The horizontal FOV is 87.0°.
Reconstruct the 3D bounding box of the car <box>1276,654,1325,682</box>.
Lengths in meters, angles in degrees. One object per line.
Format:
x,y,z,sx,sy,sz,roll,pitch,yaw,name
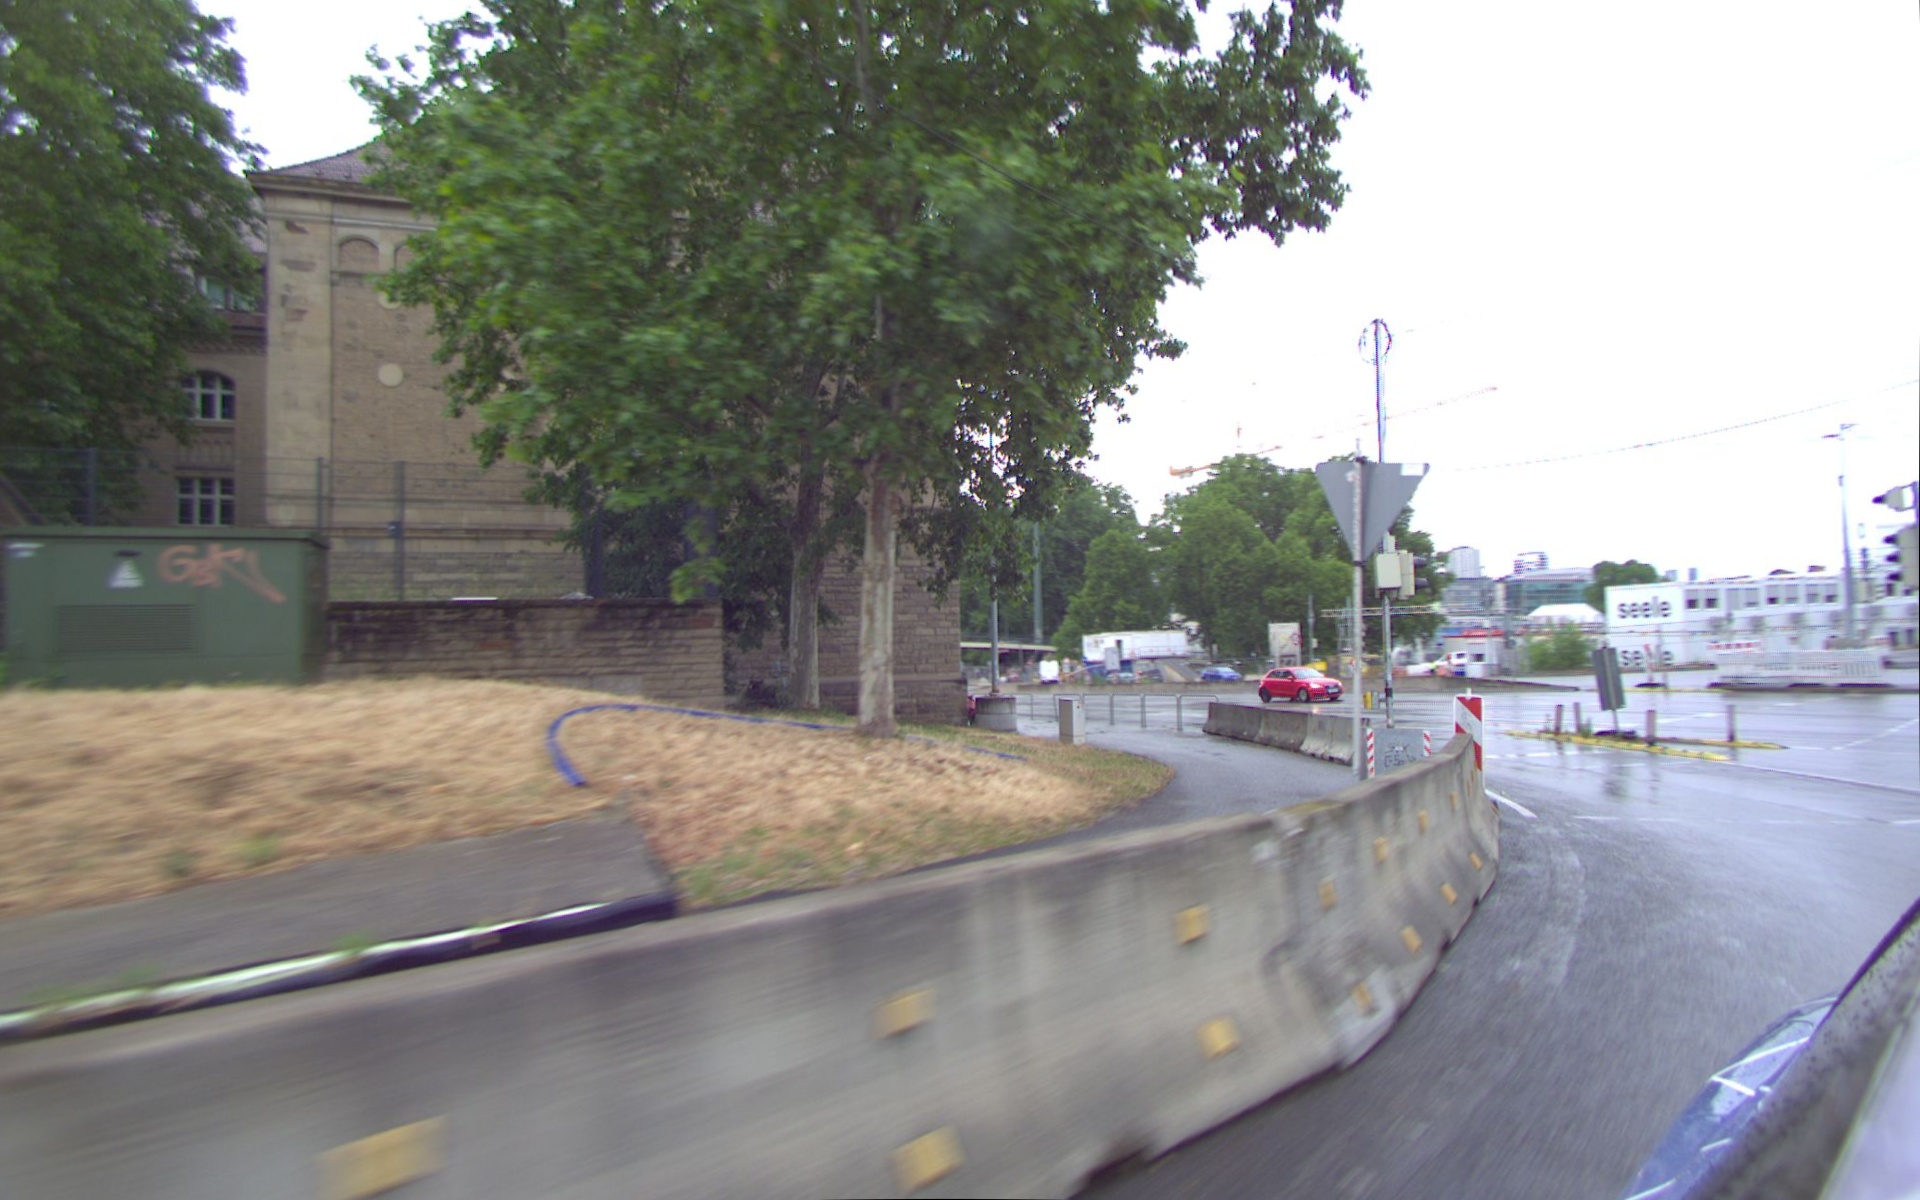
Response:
30.255,6.081,90.033,1.958,2.416,4.005,0,-4,-20,car

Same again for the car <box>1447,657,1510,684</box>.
34.253,4.680,66.843,3.923,1.528,1.999,-1,-4,-34,car

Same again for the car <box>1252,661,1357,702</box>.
14.069,3.359,41.548,1.656,1.573,4.003,0,-5,-26,car

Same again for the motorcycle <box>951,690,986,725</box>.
0.283,3.708,35.184,0.536,1.154,1.901,0,-4,-20,motorcycle

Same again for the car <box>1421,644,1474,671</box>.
45.872,5.417,95.187,3.984,2.416,1.968,-6,-6,43,car

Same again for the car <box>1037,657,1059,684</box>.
9.286,7.458,107.256,2.043,2.774,4.585,-2,-4,3,car

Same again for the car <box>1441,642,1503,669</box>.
48.570,5.290,96.026,4.913,2.416,1.975,-5,-5,34,car

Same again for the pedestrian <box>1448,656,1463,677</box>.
33.541,4.522,68.497,0.739,1.370,0.827,-5,-5,33,pedestrian

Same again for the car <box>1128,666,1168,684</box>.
16.949,6.827,91.594,1.803,1.509,4.445,-1,-4,-14,car

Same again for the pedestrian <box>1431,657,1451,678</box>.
32.515,4.587,68.434,0.729,1.370,0.839,-1,-5,-15,pedestrian

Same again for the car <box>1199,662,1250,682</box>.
20.534,5.603,78.692,1.803,1.509,4.445,-1,-4,-16,car
